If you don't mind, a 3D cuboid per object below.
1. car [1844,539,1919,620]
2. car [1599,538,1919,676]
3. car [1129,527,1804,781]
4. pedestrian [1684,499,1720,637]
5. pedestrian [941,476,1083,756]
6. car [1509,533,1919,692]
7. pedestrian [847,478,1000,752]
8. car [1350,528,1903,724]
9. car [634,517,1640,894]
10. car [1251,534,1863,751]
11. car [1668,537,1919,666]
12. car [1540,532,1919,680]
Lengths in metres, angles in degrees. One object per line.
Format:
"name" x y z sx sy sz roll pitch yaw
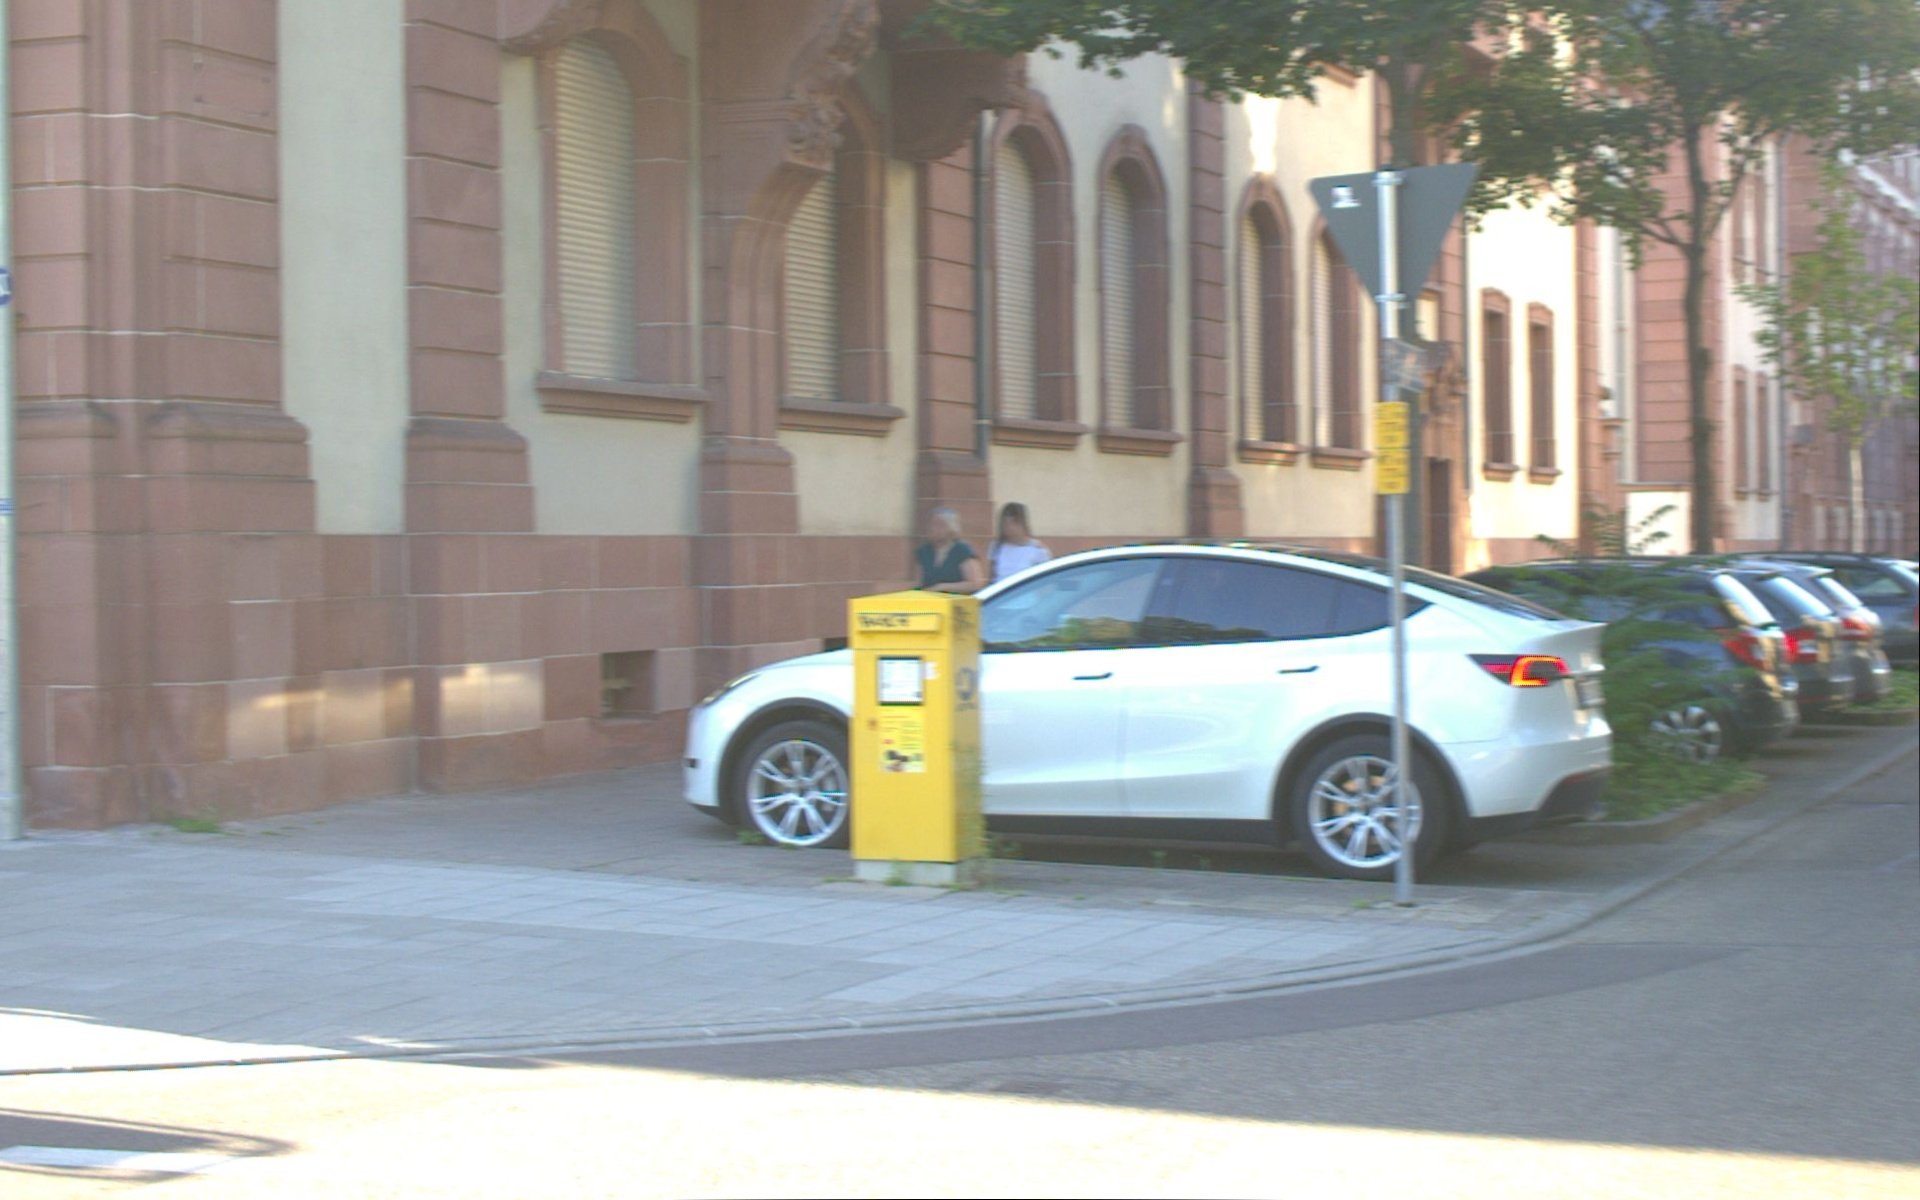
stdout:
"car" 19.165 -0.367 65.204 4.384 1.491 1.965 2 1 22
"car" 9.881 0.060 40.443 4.383 1.491 1.965 2 1 19
"car" 3.585 0.321 24.210 4.383 1.579 1.965 2 1 19
"pedestrian" 10.851 -0.463 50.284 0.435 2.007 0.463 0 1 22
"pedestrian" 0.349 0.096 23.131 0.725 1.834 0.612 2 2 24
"car" 8.072 0.101 35.688 4.383 1.491 1.965 2 1 19
"pedestrian" -0.249 0.088 23.588 0.788 1.834 0.716 2 1 24
"car" 5.720 0.178 29.419 4.383 1.491 1.965 2 1 19
"car" 0.921 0.450 17.493 4.711 1.584 1.965 2 2 19
"car" 4.639 0.278 26.625 4.383 1.491 1.965 2 1 19
"car" 11.081 0.012 42.325 4.383 1.491 1.965 2 1 19
"car" 8.810 0.039 38.178 4.383 1.491 1.965 2 1 19
